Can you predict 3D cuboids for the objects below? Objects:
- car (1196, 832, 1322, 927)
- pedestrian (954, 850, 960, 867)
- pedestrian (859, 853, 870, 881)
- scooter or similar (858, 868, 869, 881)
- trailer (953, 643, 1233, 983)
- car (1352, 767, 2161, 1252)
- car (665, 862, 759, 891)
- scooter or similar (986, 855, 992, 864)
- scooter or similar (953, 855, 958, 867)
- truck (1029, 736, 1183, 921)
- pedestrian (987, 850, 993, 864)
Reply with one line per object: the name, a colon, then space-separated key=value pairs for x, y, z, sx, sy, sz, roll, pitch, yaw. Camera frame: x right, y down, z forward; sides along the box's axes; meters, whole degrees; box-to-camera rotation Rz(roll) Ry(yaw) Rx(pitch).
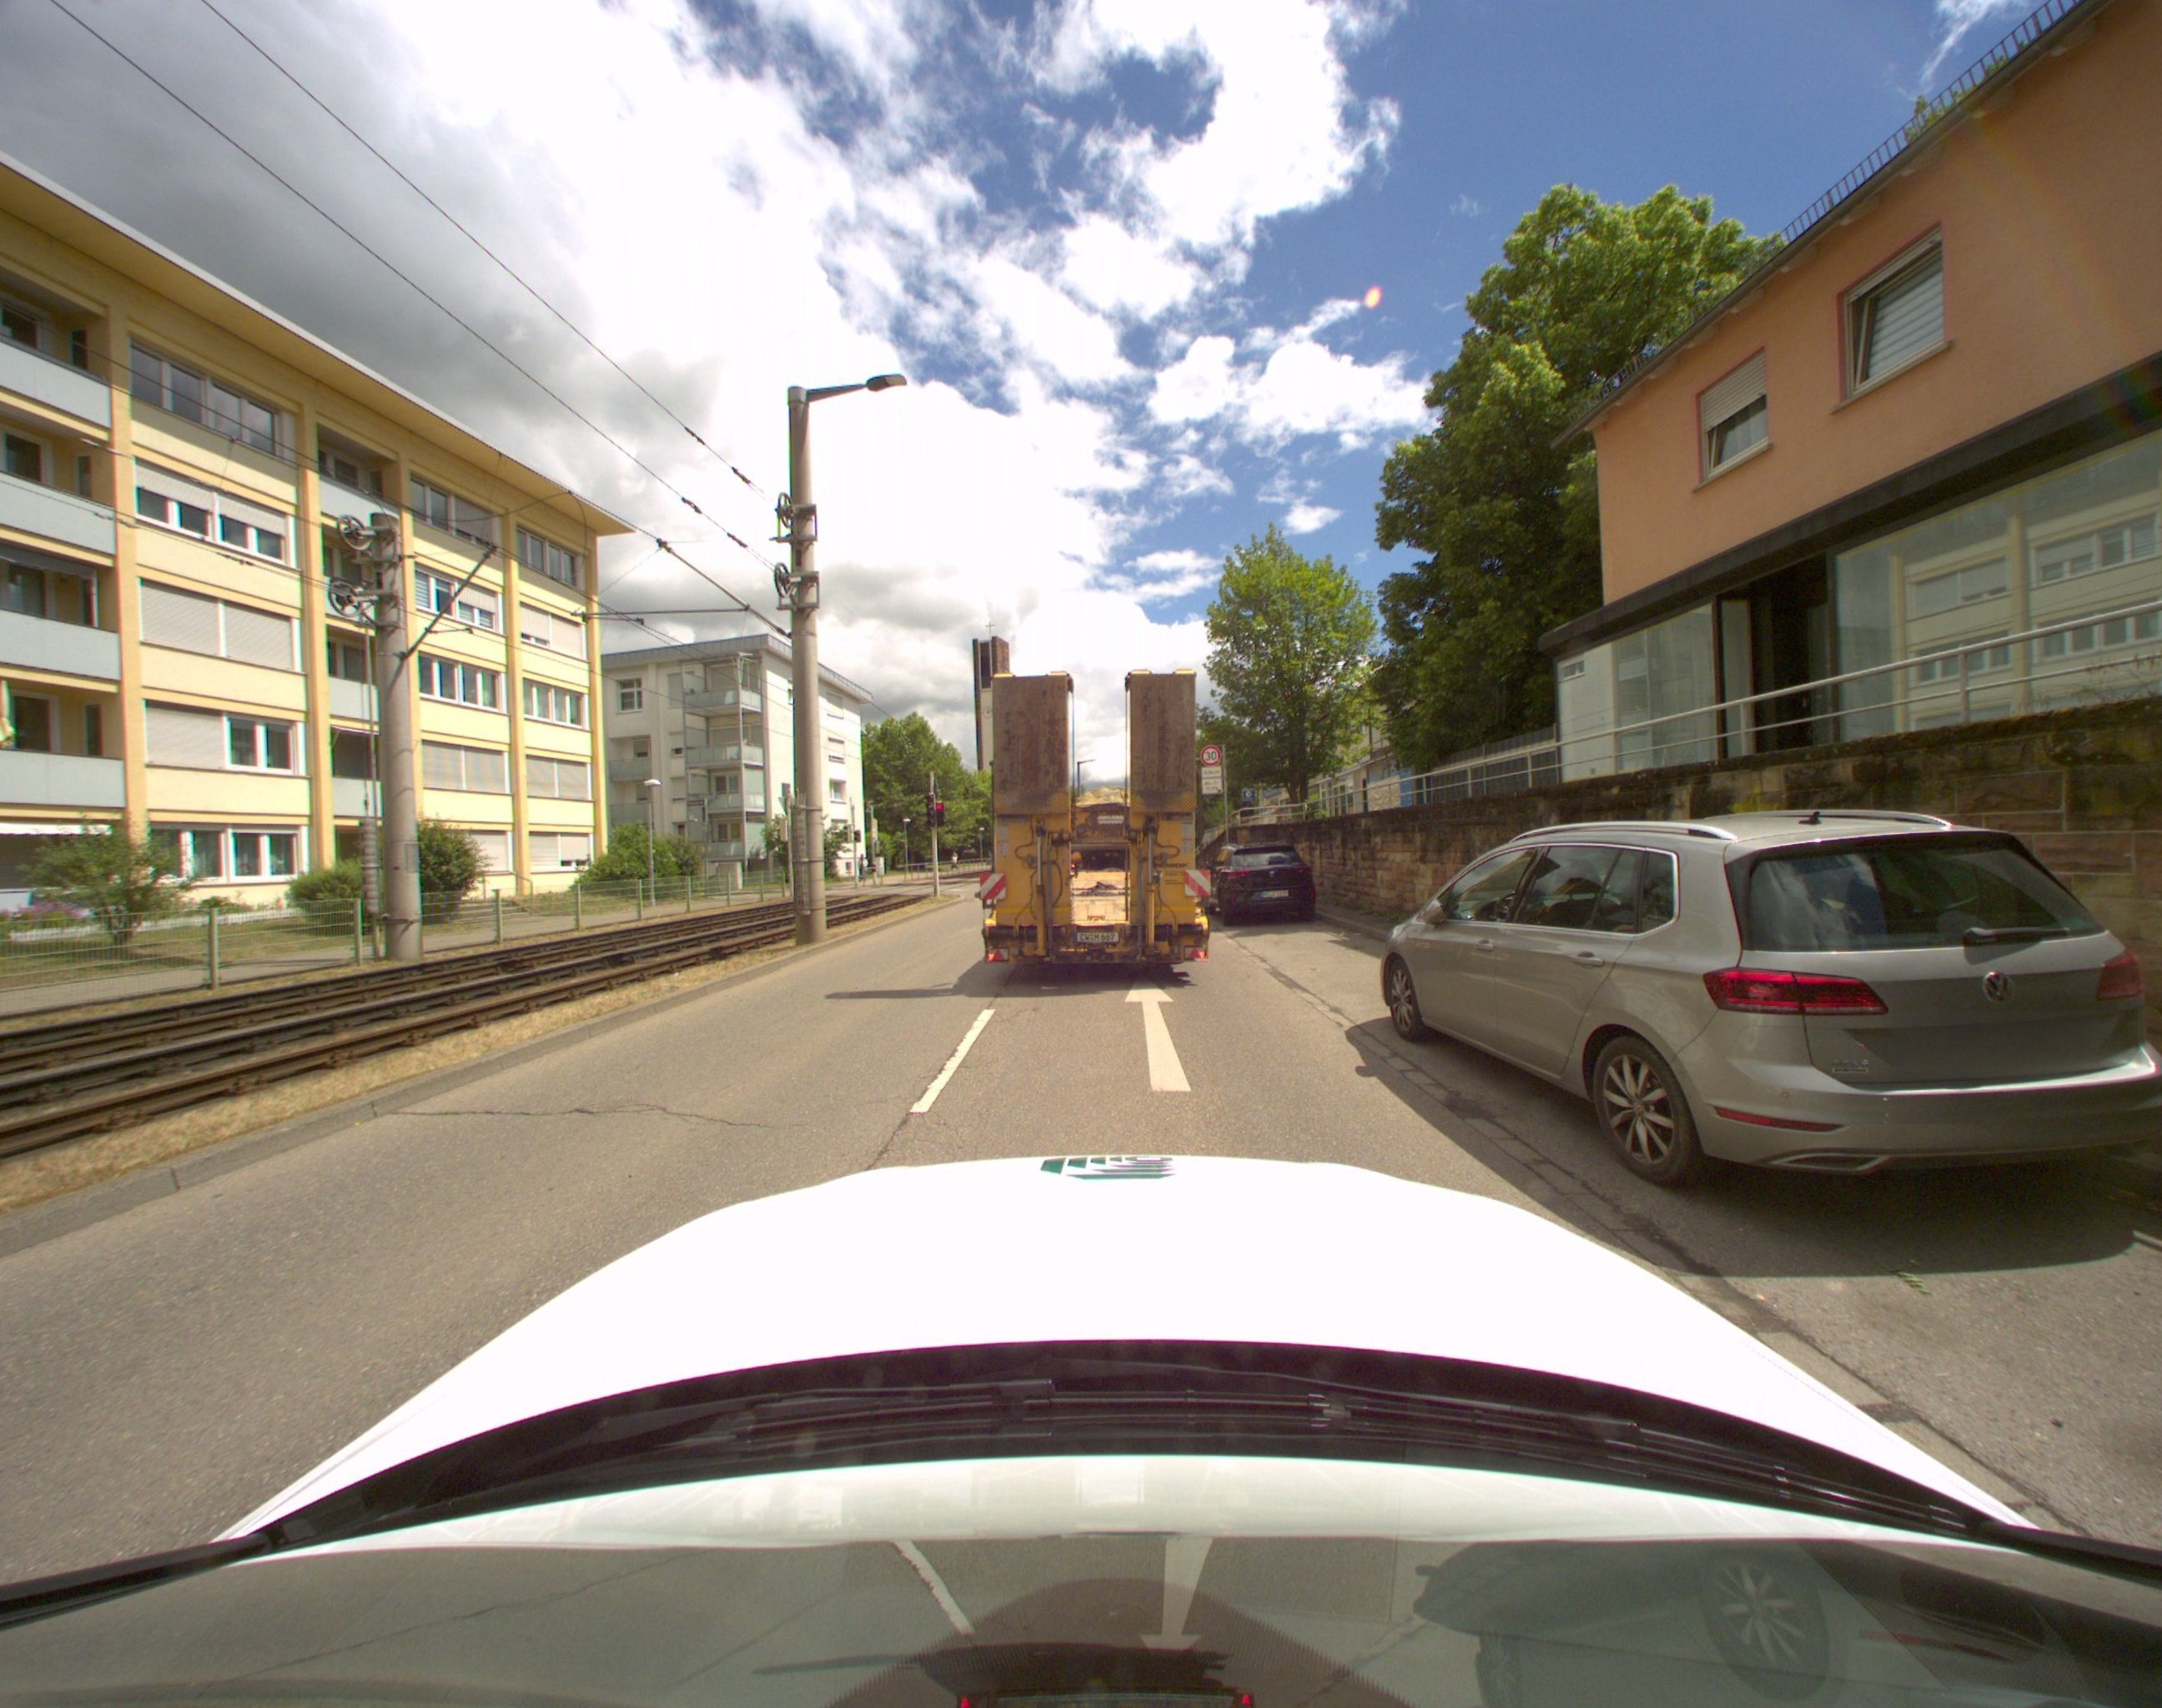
car: x=3.559 y=0.457 z=16.985 sx=1.843 sy=1.639 sz=4.003 roll=-3 pitch=0 yaw=3
pedestrian: x=-11.278 y=0.422 z=74.000 sx=0.346 sy=1.537 sz=0.558 roll=-2 pitch=0 yaw=5
pedestrian: x=-12.563 y=0.759 z=47.307 sx=0.435 sy=1.580 sz=0.475 roll=-2 pitch=0 yaw=6
scooter or similar: x=-12.480 y=1.176 z=46.815 sx=0.435 sy=0.747 sz=0.475 roll=-2 pitch=0 yaw=7
trailer: x=0.343 y=-0.476 z=13.205 sx=2.933 sy=3.601 sz=8.690 roll=-2 pitch=0 yaw=3
car: x=3.260 y=0.525 z=4.973 sx=1.783 sy=1.617 sz=4.249 roll=-3 pitch=0 yaw=1
car: x=-19.136 y=1.154 z=42.294 sx=3.962 sy=1.345 sz=1.906 roll=-2 pitch=0 yaw=9
scooter or similar: x=-10.135 y=0.579 z=89.842 sx=0.504 sy=0.971 sz=0.646 roll=0 pitch=0 yaw=1
scooter or similar: x=-11.304 y=0.667 z=73.346 sx=0.336 sy=1.057 sz=0.688 roll=-2 pitch=0 yaw=5
truck: x=0.600 y=-0.519 z=18.604 sx=2.931 sy=3.572 sz=4.880 roll=-2 pitch=0 yaw=2
pedestrian: x=-10.100 y=0.320 z=90.493 sx=0.562 sy=1.513 sz=0.646 roll=0 pitch=0 yaw=1
